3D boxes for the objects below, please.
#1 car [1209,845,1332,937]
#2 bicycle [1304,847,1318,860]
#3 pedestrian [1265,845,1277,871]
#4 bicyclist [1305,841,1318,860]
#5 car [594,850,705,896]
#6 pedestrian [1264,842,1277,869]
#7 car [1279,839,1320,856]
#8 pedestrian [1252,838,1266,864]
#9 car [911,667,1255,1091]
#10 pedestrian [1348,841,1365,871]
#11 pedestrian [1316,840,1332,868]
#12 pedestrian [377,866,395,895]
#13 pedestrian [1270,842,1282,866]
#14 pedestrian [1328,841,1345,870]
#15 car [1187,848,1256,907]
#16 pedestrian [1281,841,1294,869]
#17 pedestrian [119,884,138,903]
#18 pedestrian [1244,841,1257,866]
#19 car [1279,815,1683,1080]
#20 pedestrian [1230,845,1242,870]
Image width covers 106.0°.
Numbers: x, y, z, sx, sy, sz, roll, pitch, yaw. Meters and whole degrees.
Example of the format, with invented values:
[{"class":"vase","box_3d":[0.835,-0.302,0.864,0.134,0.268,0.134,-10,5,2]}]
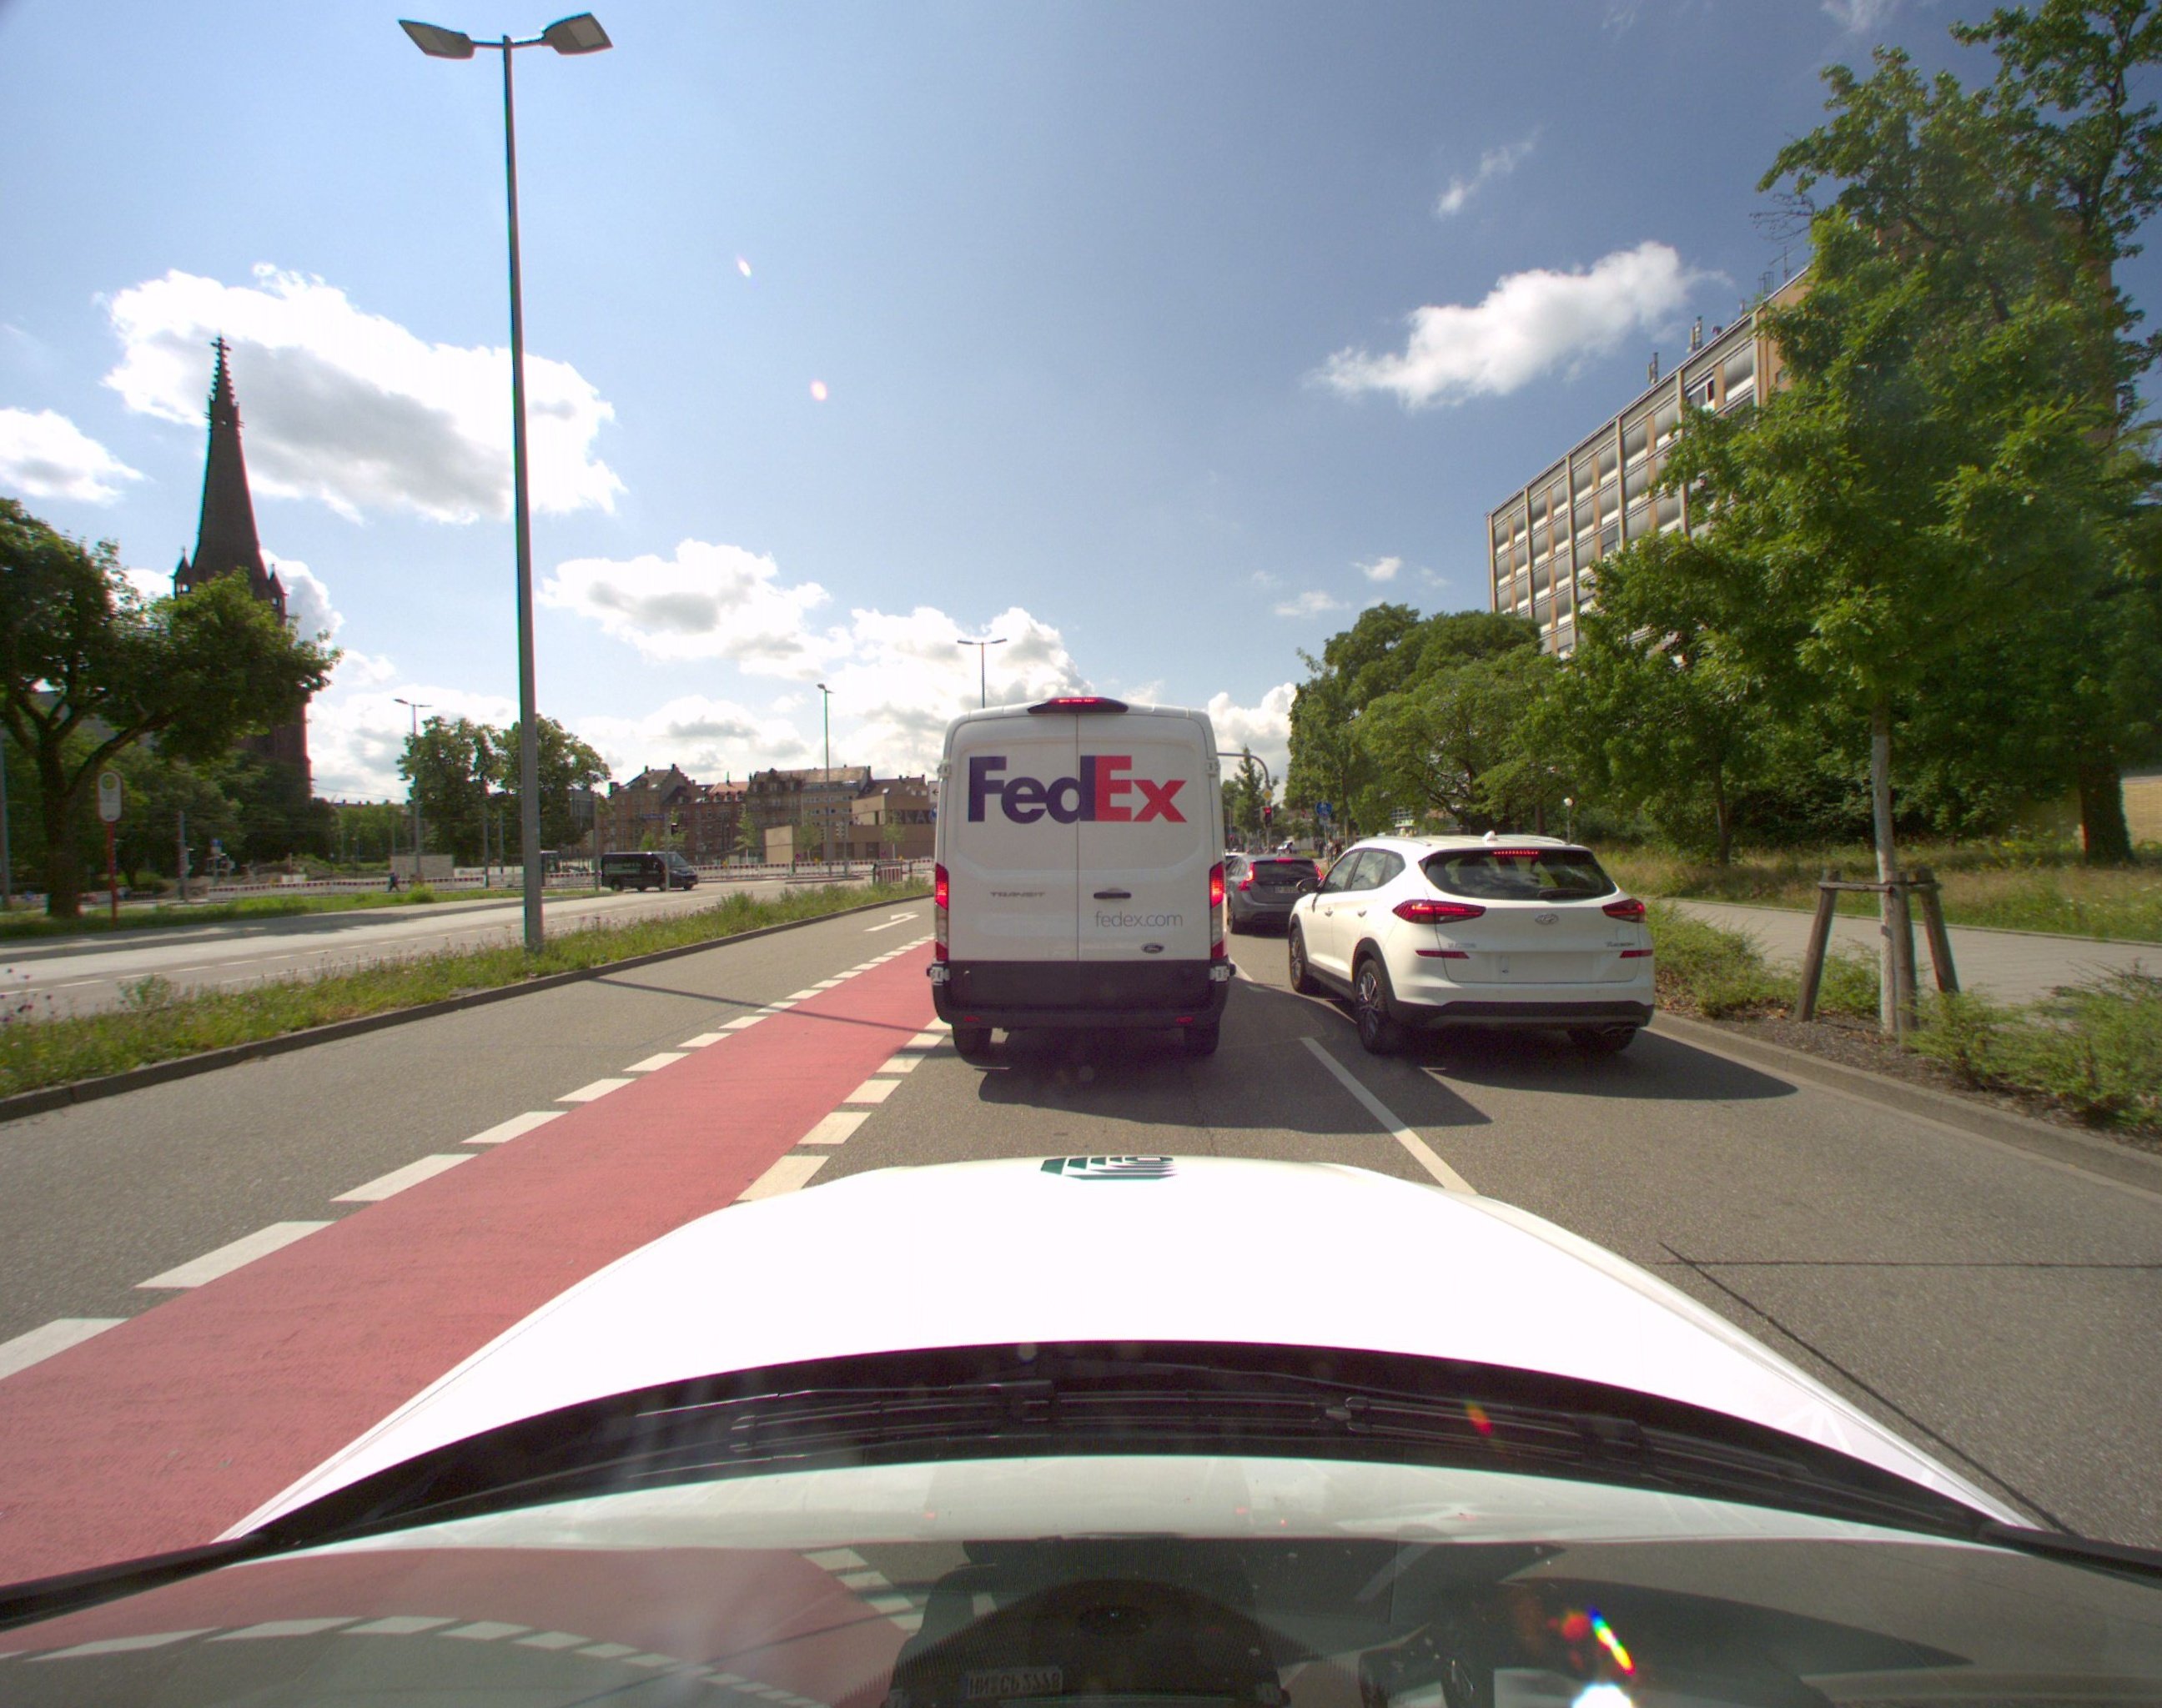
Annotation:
[{"class":"car","box_3d":[3.553,0.624,15.864,1.684,1.549,3.724,-2,0,3]},{"class":"bicycle","box_3d":[27.002,-0.047,95.414,1.414,1.464,4.330,-2,0,17]},{"class":"pedestrian","box_3d":[13.724,0.311,58.892,0.753,1.849,0.820,-2,0,16]},{"class":"bicyclist","box_3d":[27.070,-0.423,95.658,1.421,2.171,1.345,-2,0,17]},{"class":"car","box_3d":[-23.648,1.017,44.691,4.970,2.175,2.161,-4,0,11]},{"class":"pedestrian","box_3d":[13.161,0.099,56.548,0.752,1.849,0.820,-2,0,20]},{"class":"car","box_3d":[37.265,-1.106,138.608,7.105,2.717,2.472,0,-1,-30]},{"class":"pedestrian","box_3d":[13.066,-0.237,59.764,0.810,1.849,0.762,-2,0,5]},{"class":"car","box_3d":[0.135,0.148,7.273,2.064,2.581,4.432,-2,0,3]},{"class":"pedestrian","box_3d":[16.932,0.112,50.068,0.757,1.849,0.815,-2,0,-2]},{"class":"pedestrian","box_3d":[16.543,0.008,55.492,0.758,1.849,0.814,-2,0,-8]},{"class":"pedestrian","box_3d":[-48.548,1.851,56.924,0.644,2.013,0.632,-2,0,-1]},{"class":"pedestrian","box_3d":[15.440,0.002,64.368,0.755,1.849,0.817,-2,0,5]},{"class":"pedestrian","box_3d":[14.888,0.086,47.530,0.755,1.655,0.817,-2,0,5]},{"class":"car","box_3d":[3.871,0.601,22.813,1.493,1.464,3.477,-2,0,3]},{"class":"pedestrian","box_3d":[14.332,0.063,56.450,0.752,1.849,0.820,-2,0,20]},{"class":"pedestrian","box_3d":[-86.179,3.566,73.667,0.860,1.663,0.745,-2,0,-29]},{"class":"pedestrian","box_3d":[12.982,-0.041,62.492,0.756,1.849,0.816,-2,0,-1]},{"class":"car","box_3d":[3.073,0.595,7.272,1.807,1.678,3.978,-2,0,3]},{"class":"pedestrian","box_3d":[12.053,0.260,63.334,0.757,1.849,0.815,-2,0,-2]}]
